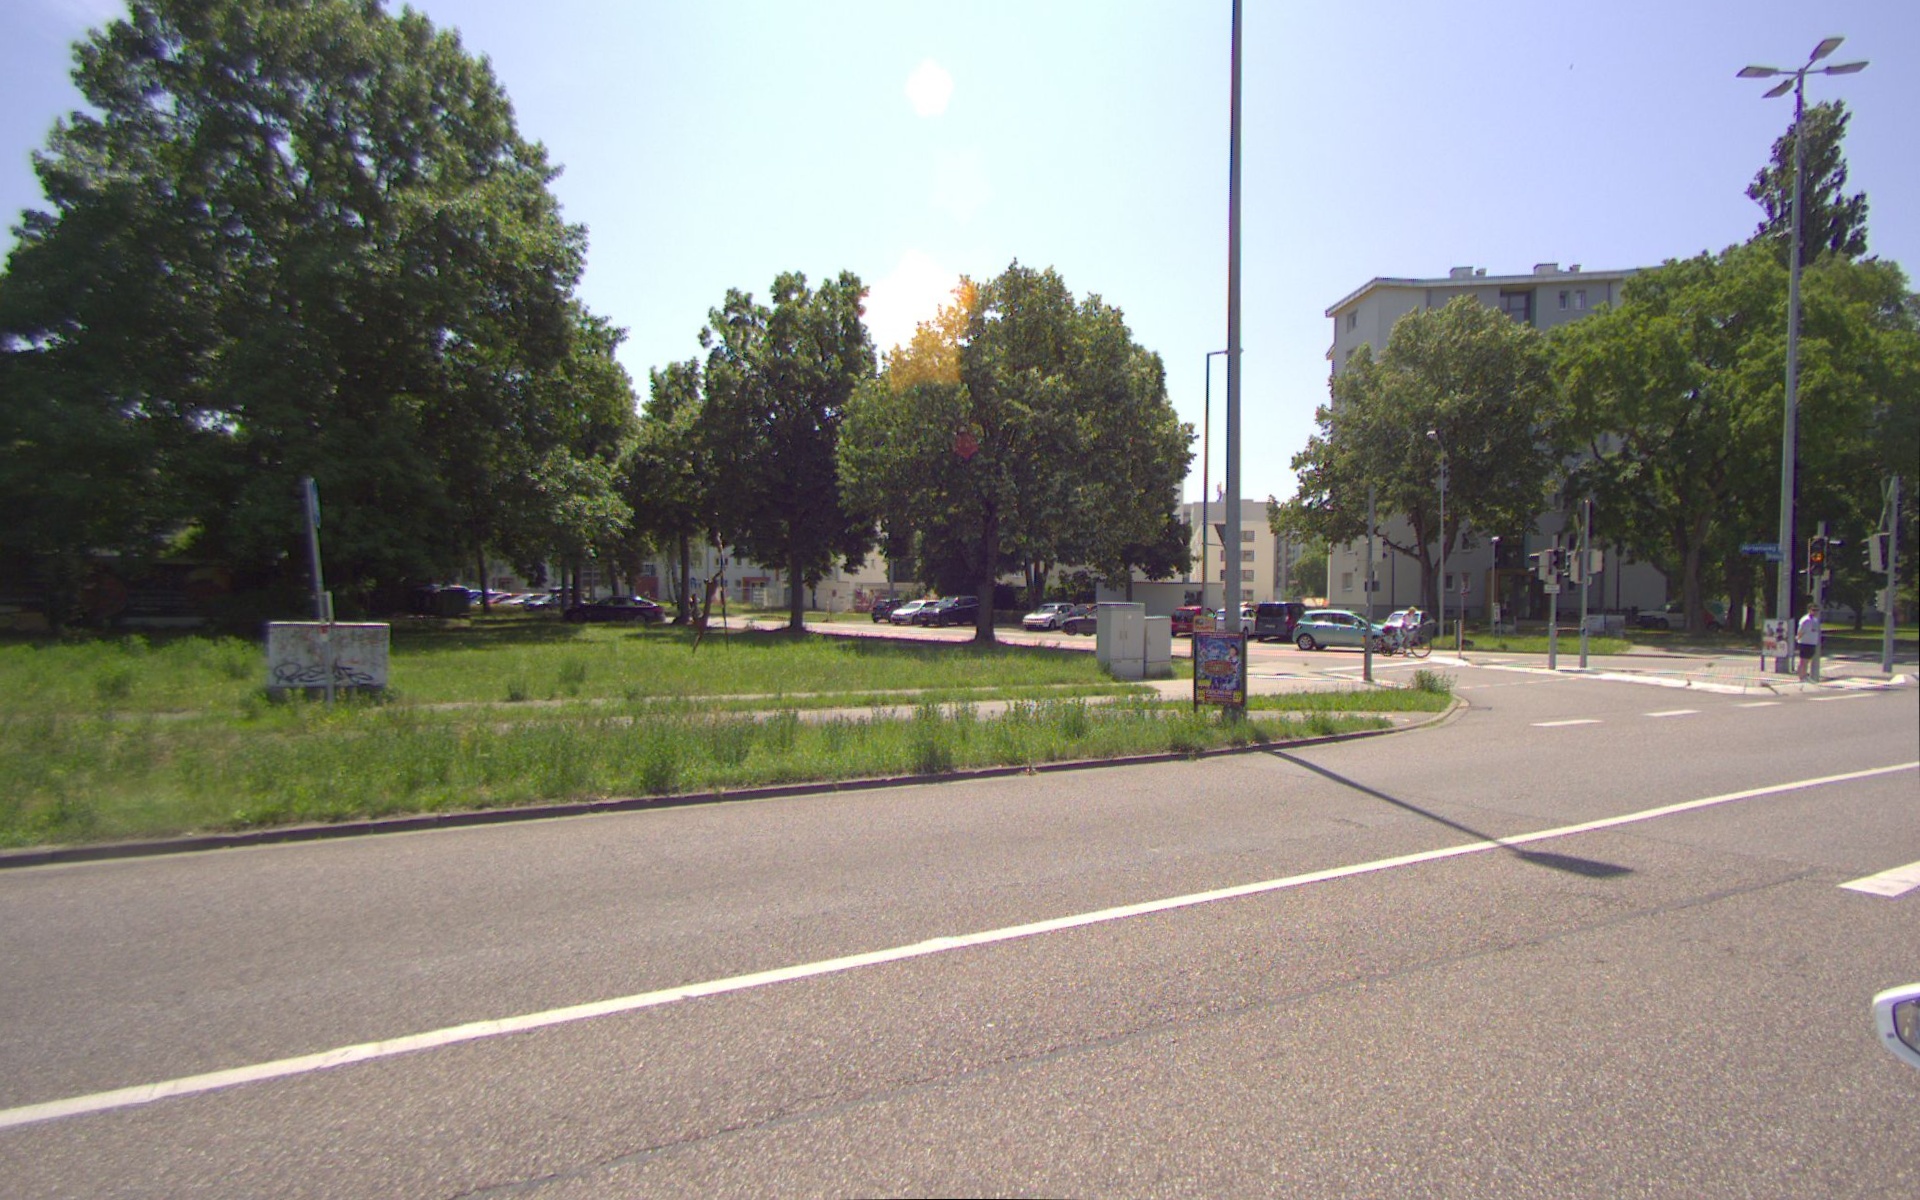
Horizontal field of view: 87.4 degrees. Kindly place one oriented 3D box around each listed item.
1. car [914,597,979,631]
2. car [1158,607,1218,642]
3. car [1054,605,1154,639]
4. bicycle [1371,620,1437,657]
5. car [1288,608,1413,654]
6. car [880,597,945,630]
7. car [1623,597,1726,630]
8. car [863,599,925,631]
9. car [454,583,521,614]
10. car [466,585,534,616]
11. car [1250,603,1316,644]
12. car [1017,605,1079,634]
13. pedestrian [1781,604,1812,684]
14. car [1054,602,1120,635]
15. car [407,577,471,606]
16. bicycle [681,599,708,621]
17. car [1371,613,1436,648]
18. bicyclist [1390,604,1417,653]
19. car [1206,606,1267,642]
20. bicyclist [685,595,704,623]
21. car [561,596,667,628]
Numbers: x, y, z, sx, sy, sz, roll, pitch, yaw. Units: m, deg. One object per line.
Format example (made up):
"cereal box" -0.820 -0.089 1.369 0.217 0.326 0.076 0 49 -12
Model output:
"car" -0.809 0.822 61.161 1.824 1.974 3.982 2 1 39
"car" 11.634 1.232 51.122 1.820 1.690 3.991 1 0 31
"car" 7.005 1.047 49.188 4.564 1.519 1.902 1 0 43
"bicycle" 14.384 1.236 32.540 1.841 1.108 0.643 1 0 40
"car" 13.991 1.063 36.030 3.836 1.488 1.768 1 0 38
"car" -2.951 0.805 62.859 1.824 1.974 3.982 2 1 39
"car" 41.003 0.753 57.769 4.456 1.791 1.793 1 0 12
"car" -4.247 0.927 65.361 1.824 1.974 3.982 2 1 39
"car" -34.583 -0.113 73.529 1.971 2.041 3.979 5 4 41
"car" -32.892 0.051 71.873 1.971 2.041 3.979 5 4 41
"car" 15.516 1.068 48.120 1.683 1.825 3.982 2 1 39
"car" 5.038 1.097 57.181 1.668 1.583 3.820 1 0 39
"pedestrian" 18.150 0.952 21.797 0.480 1.710 0.380 0 1 -32
"car" 7.109 1.030 56.025 1.824 1.734 3.982 -1 -1 39
"car" -40.739 -0.667 78.627 1.971 2.041 3.979 5 4 41
"bicycle" -16.295 0.589 61.621 0.768 1.317 2.036 0 0 -42
"car" 19.810 1.326 44.797 1.605 1.399 3.981 2 1 40
"bicyclist" 14.373 0.898 32.557 0.656 1.557 0.628 1 1 39
"car" 13.717 1.144 49.758 1.681 1.613 3.987 2 1 35
"bicyclist" -16.293 0.562 61.627 0.768 1.715 0.887 0 1 -42
"car" -16.320 0.552 47.638 4.502 1.487 1.996 0 0 -11
